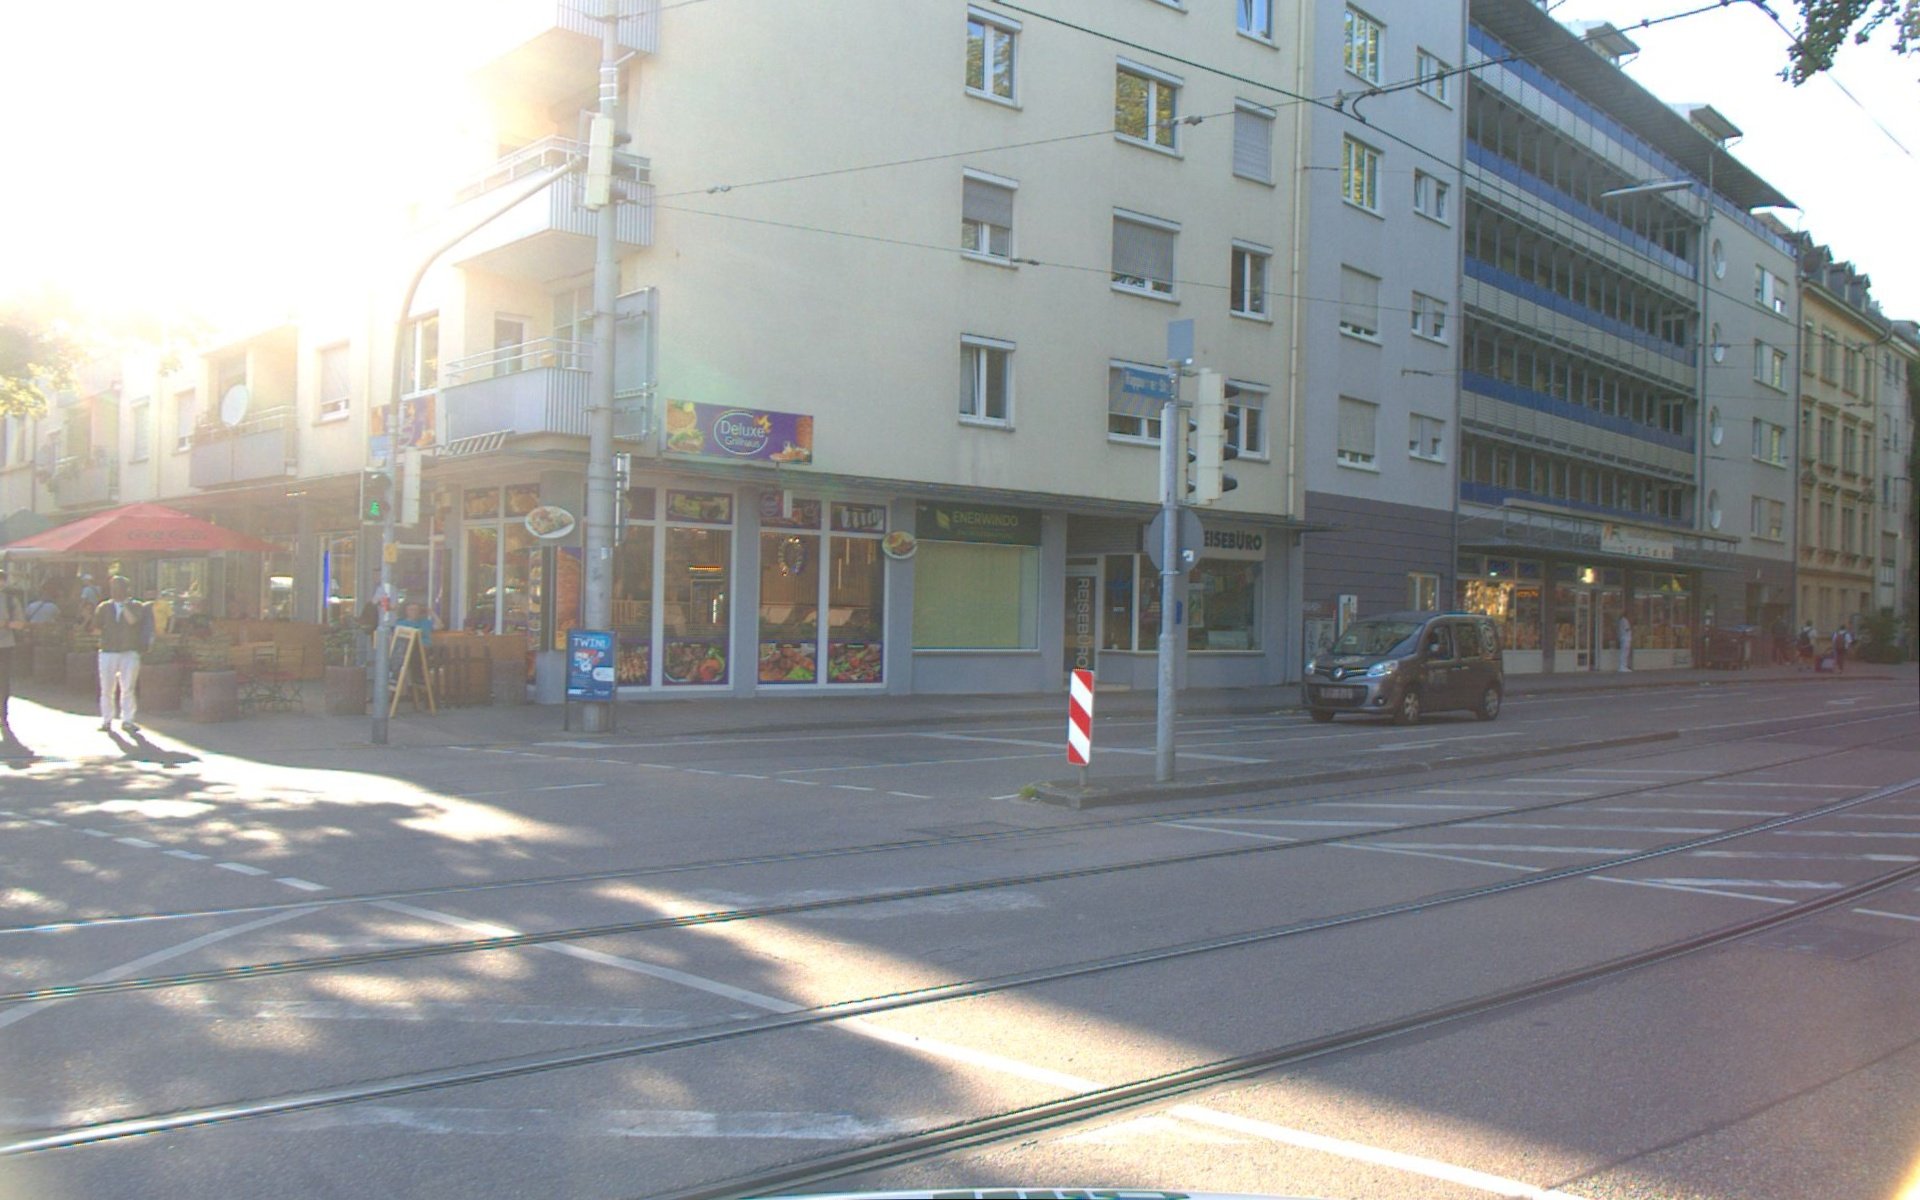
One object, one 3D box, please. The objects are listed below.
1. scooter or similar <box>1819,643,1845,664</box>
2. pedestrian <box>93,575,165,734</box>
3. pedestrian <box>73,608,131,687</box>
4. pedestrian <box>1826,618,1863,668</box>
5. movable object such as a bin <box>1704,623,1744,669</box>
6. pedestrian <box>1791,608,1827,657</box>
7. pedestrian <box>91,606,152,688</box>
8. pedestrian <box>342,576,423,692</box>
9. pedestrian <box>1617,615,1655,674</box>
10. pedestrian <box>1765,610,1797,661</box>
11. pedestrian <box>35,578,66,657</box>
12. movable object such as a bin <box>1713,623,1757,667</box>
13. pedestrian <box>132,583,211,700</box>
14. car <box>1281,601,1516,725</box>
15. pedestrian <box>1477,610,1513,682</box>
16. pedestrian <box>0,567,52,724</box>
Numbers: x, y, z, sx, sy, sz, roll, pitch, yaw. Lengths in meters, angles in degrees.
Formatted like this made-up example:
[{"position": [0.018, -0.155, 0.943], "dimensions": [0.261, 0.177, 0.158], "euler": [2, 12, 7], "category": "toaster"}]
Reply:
[{"position": [29.118, 1.786, 55.247], "dimensions": [0.615, 0.659, 0.761], "euler": [0, -1, 42], "category": "scooter or similar"}, {"position": [-9.591, 0.622, 19.111], "dimensions": [0.682, 1.781, 0.833], "euler": [2, -1, -26], "category": "pedestrian"}, {"position": [-15.414, 0.840, 29.715], "dimensions": [0.804, 1.386, 0.903], "euler": [1, -1, -35], "category": "pedestrian"}, {"position": [29.790, 1.455, 55.685], "dimensions": [0.879, 1.653, 1.028], "euler": [0, -1, 42], "category": "pedestrian"}, {"position": [25.099, 1.499, 54.340], "dimensions": [0.996, 1.453, 1.140], "euler": [0, -1, 37], "category": "movable object such as a bin"}, {"position": [28.795, 1.099, 56.103], "dimensions": [0.879, 1.653, 1.028], "euler": [0, -1, 42], "category": "pedestrian"}, {"position": [-14.562, 0.801, 28.720], "dimensions": [0.804, 1.386, 0.903], "euler": [1, -1, -35], "category": "pedestrian"}, {"position": [-9.169, 0.531, 26.267], "dimensions": [0.800, 1.802, 0.908], "euler": [0, -1, 43], "category": "pedestrian"}, {"position": [19.870, 1.289, 48.604], "dimensions": [1.008, 1.691, 1.227], "euler": [1, -1, 22], "category": "pedestrian"}, {"position": [30.882, 1.317, 62.229], "dimensions": [0.879, 1.897, 0.784], "euler": [0, -1, 44], "category": "pedestrian"}, {"position": [-23.784, 0.459, 43.238], "dimensions": [0.502, 2.049, 0.534], "euler": [0, -1, 42], "category": "pedestrian"}, {"position": [25.993, 1.496, 55.457], "dimensions": [0.998, 1.453, 1.249], "euler": [0, -1, 42], "category": "movable object such as a bin"}, {"position": [-12.444, 0.639, 26.099], "dimensions": [0.906, 1.802, 0.801], "euler": [1, -1, -42], "category": "pedestrian"}, {"position": [7.165, 0.965, 26.784], "dimensions": [1.882, 1.838, 4.333], "euler": [0, -1, 43], "category": "car"}, {"position": [12.795, 1.095, 39.540], "dimensions": [0.651, 1.677, 0.623], "euler": [1, -1, 34], "category": "pedestrian"}, {"position": [-11.041, 0.514, 19.145], "dimensions": [0.781, 1.781, 0.689], "euler": [0, -1, 43], "category": "pedestrian"}]
